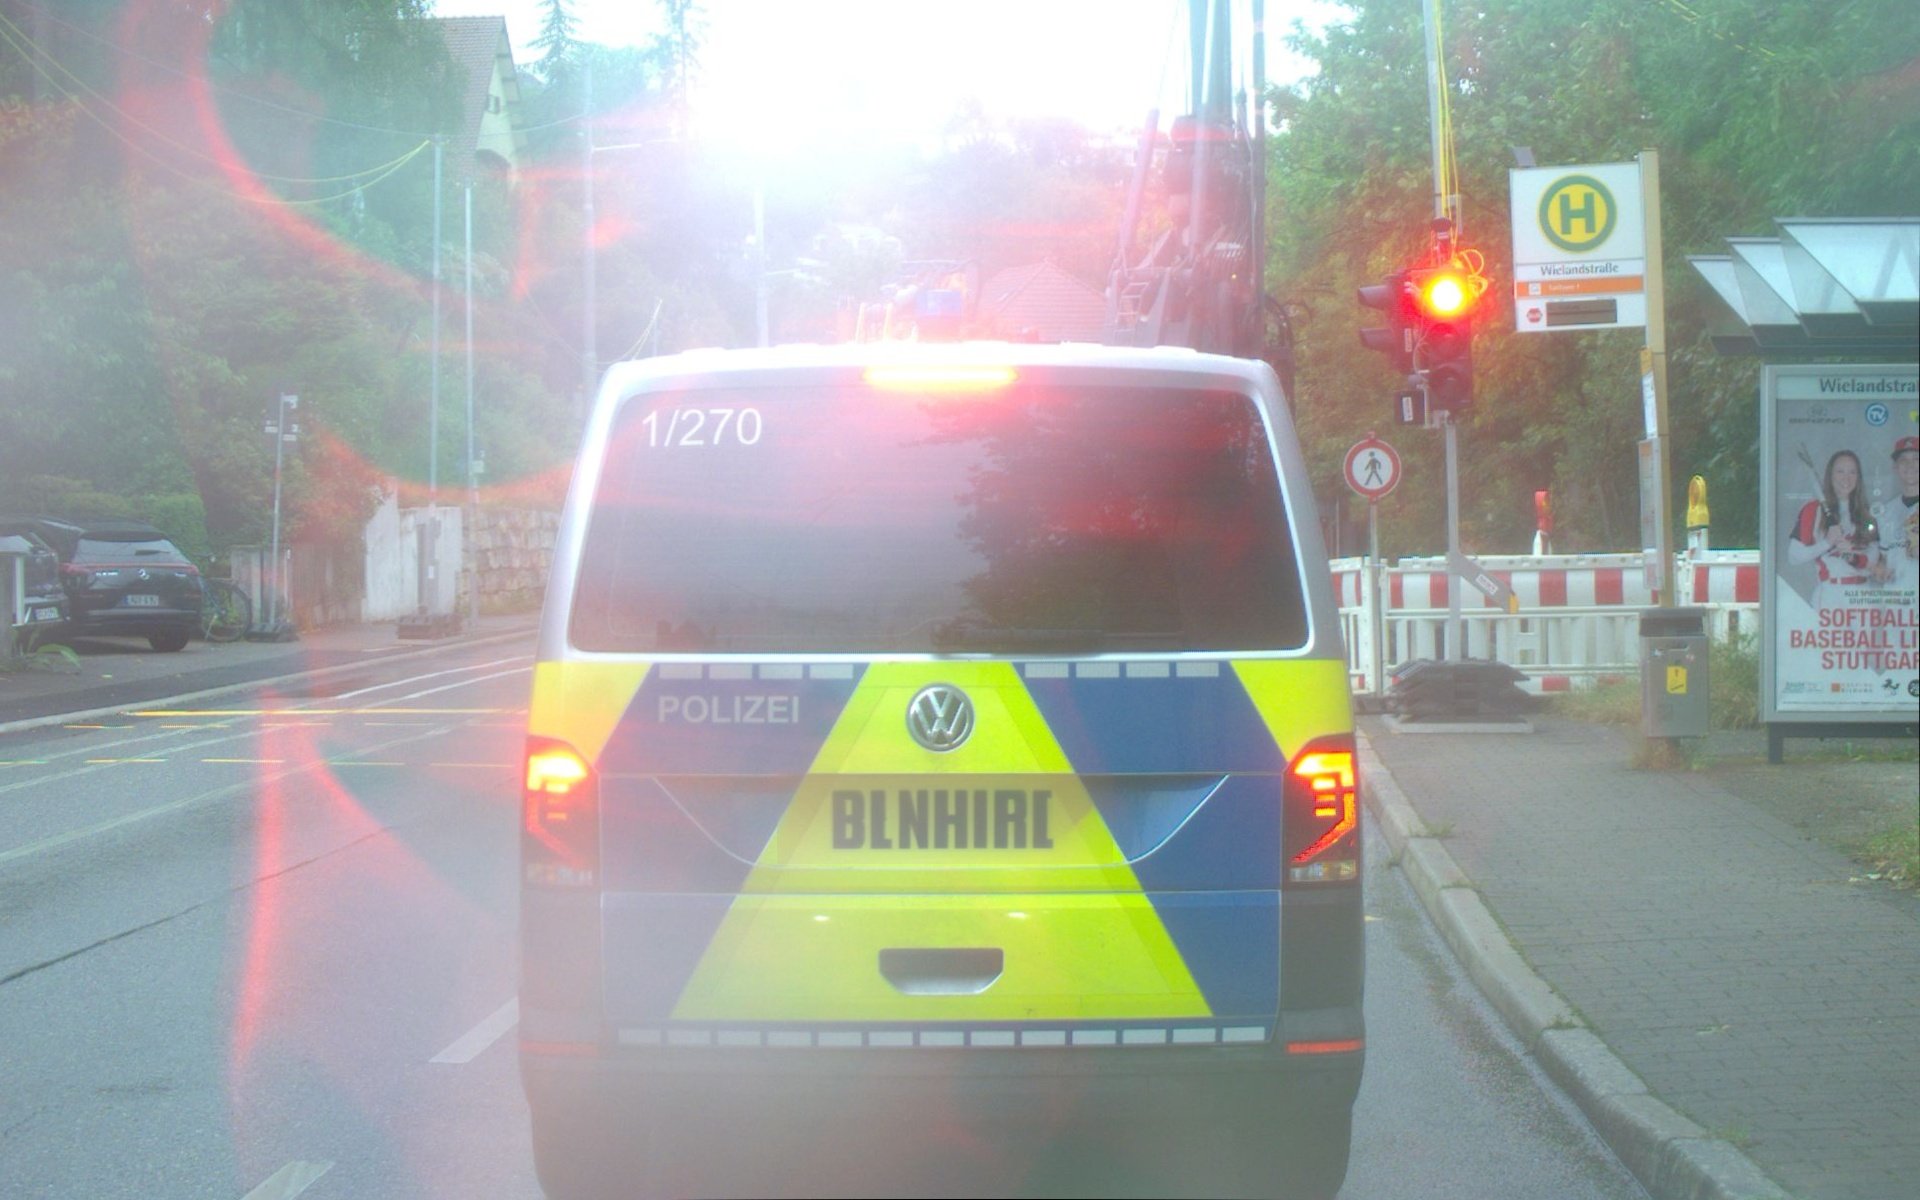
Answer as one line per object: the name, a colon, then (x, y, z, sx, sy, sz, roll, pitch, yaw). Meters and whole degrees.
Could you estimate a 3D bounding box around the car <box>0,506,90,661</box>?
car: (-11.124, -0.197, 34.905, 3.989, 1.520, 1.940, 1, 1, 13)

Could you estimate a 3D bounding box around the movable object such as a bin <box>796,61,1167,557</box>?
movable object such as a bin: (0.313, -2.550, 31.613, 2.879, 4.156, 4.486, -1, 2, 6)

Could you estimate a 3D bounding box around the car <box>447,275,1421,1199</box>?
car: (-0.078, 0.349, 9.042, 1.908, 2.003, 4.440, 1, 1, -1)

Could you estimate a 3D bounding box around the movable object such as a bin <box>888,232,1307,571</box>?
movable object such as a bin: (2.361, -3.067, 55.854, 3.689, 5.049, 7.150, -1, 0, 32)

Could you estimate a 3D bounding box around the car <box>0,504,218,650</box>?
car: (-9.929, -0.277, 37.908, 1.781, 1.520, 3.999, 0, 1, -39)
